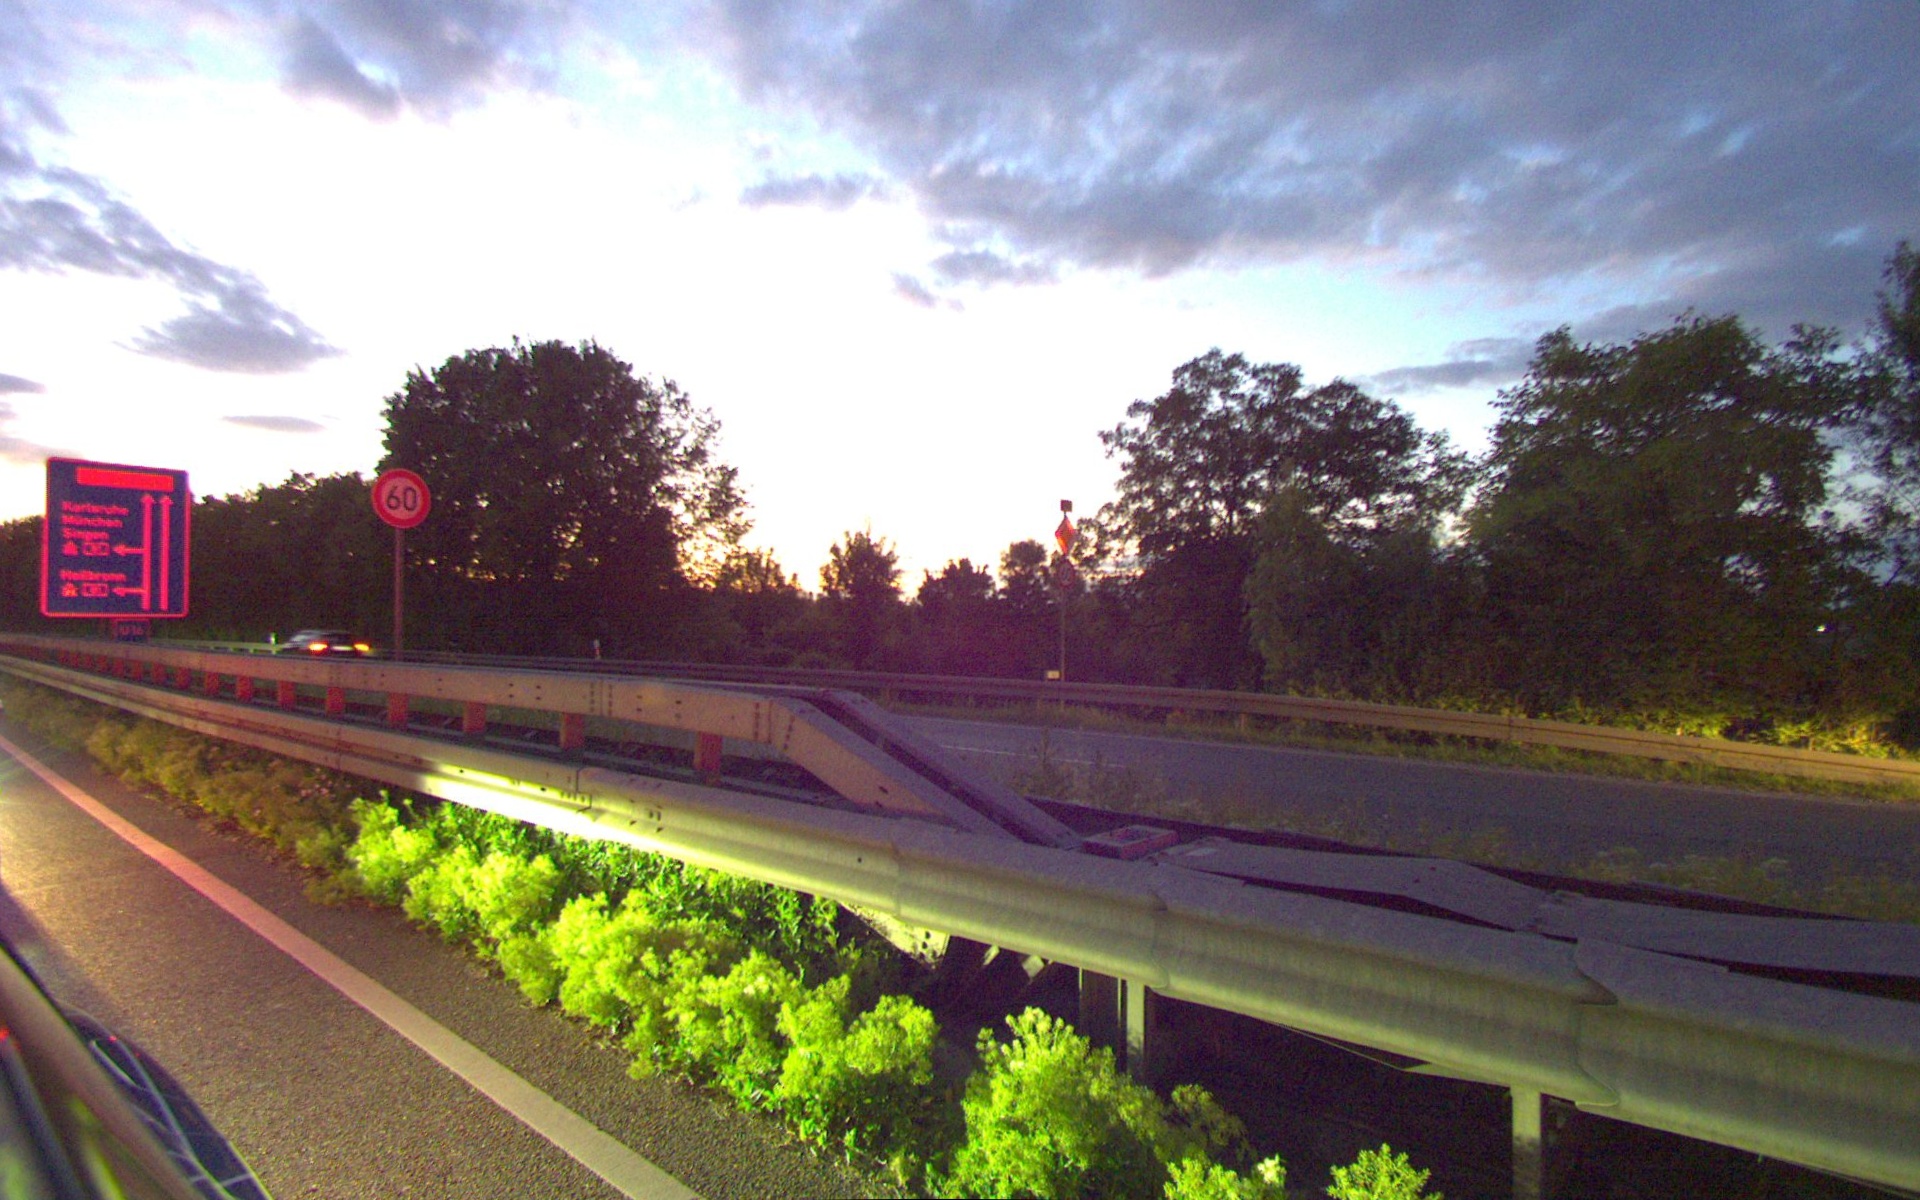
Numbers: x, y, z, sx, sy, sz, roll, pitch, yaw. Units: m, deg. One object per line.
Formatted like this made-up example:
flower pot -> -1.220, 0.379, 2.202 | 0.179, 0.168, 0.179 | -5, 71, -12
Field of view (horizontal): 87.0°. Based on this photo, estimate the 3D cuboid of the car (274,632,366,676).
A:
car -> -23.510, 1.944, 37.124 | 4.589, 1.516, 1.611 | -1, -3, 41

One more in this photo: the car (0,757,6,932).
car -> -6.729, 0.894, 5.554 | 4.645, 1.447, 1.795 | -2, 0, 42
